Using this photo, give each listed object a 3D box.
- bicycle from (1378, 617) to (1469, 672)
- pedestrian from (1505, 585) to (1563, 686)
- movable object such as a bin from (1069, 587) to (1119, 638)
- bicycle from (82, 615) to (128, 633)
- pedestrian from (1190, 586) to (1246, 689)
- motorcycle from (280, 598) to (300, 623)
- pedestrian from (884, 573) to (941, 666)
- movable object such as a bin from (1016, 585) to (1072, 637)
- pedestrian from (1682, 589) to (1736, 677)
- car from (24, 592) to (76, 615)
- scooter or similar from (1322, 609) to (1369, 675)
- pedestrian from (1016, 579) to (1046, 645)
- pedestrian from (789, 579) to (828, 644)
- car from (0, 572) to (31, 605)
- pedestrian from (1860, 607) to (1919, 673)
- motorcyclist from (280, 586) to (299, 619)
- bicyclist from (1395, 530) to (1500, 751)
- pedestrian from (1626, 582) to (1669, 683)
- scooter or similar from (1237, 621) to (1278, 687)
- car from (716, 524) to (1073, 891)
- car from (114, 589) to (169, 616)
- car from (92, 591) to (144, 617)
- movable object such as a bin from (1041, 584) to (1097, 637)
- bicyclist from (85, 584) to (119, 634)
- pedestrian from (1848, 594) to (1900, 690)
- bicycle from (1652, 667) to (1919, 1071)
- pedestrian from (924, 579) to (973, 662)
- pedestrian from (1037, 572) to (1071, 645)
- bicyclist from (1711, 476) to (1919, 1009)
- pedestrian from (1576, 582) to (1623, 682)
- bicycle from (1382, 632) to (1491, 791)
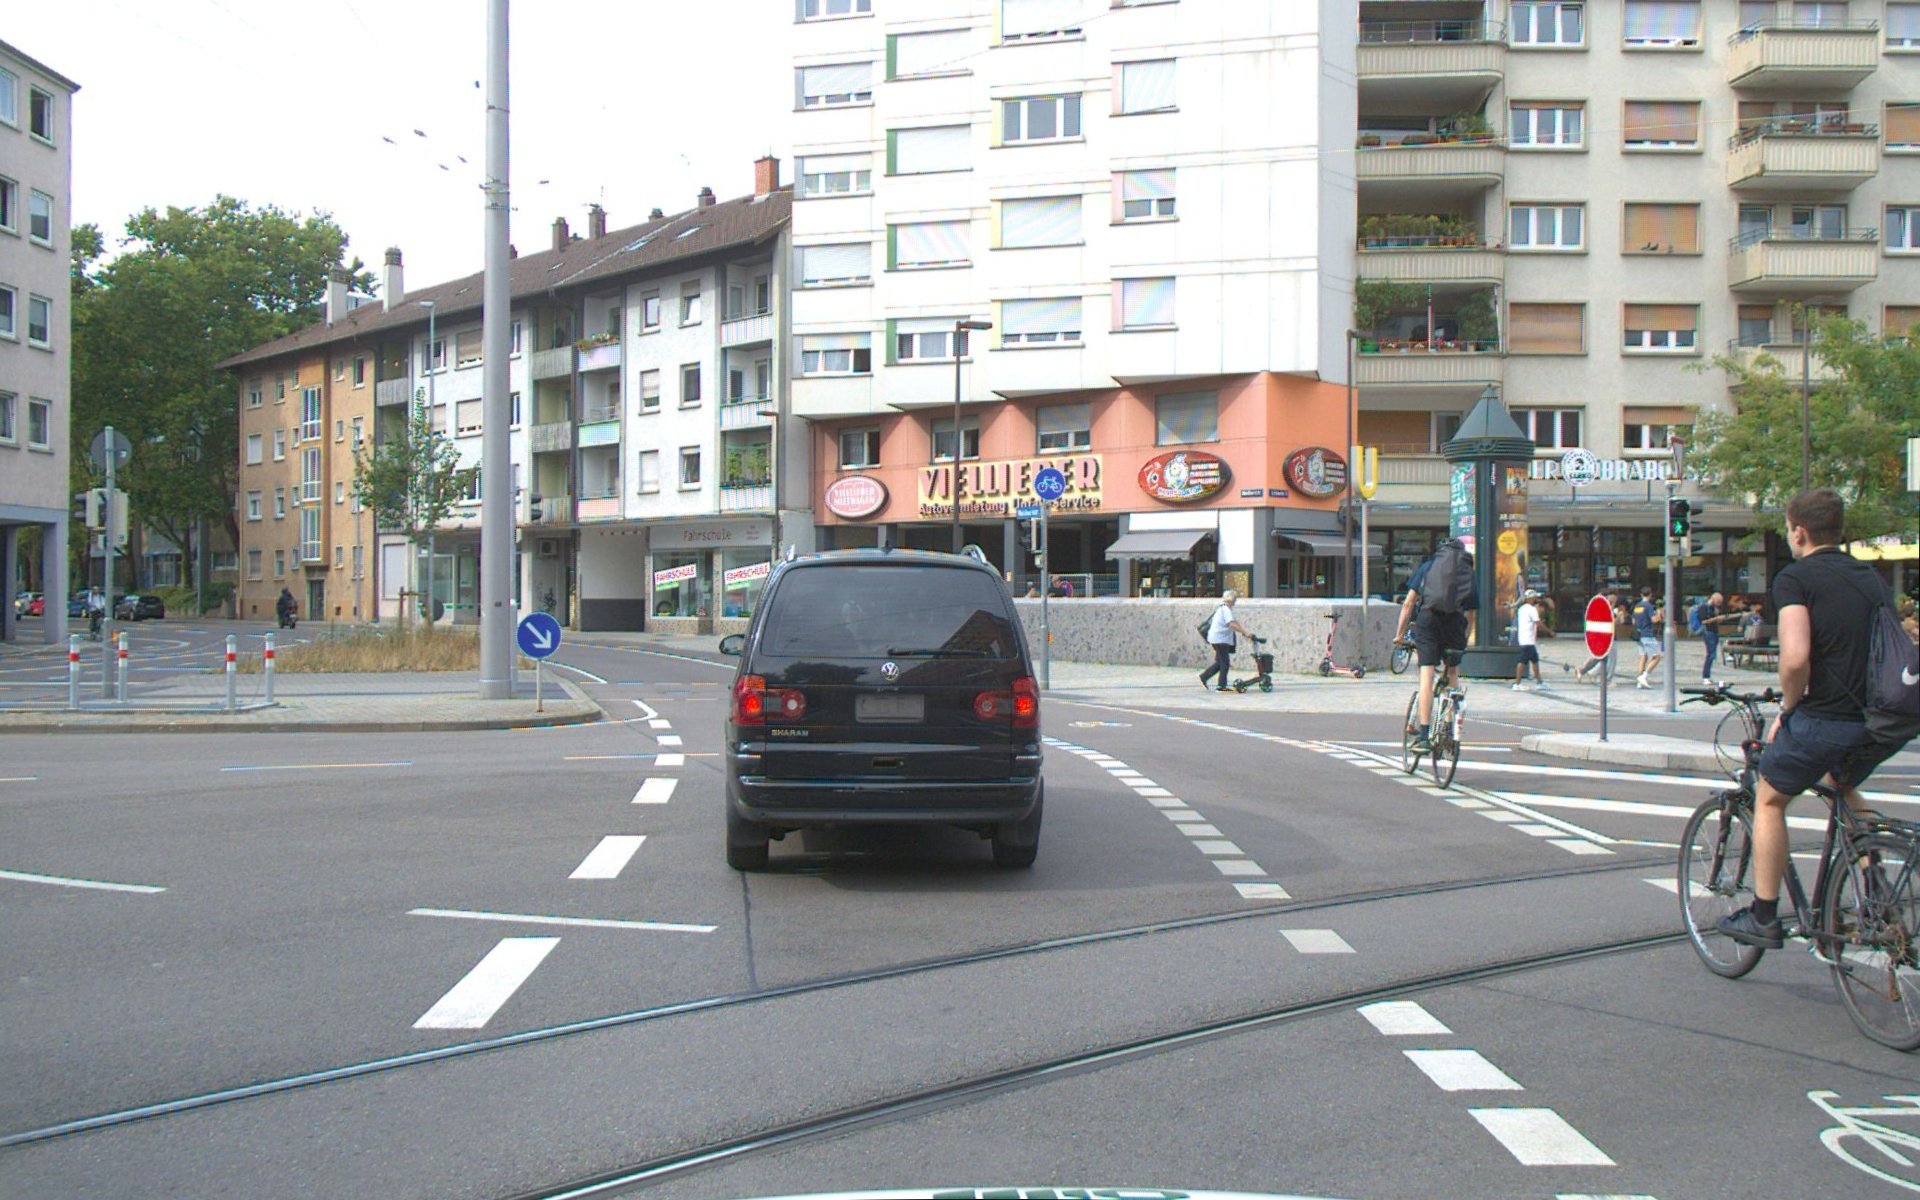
[{"bbox_3d":[9.231,0.864,32.877,2.427,1.031,0.536,0,0,-42],"label":"bicycle"},{"bbox_3d":[9.893,0.606,28.501,0.787,1.710,0.627,0,0,1],"label":"pedestrian"},{"bbox_3d":[4.064,0.369,50.240,1.148,1.542,0.999,0,0,44],"label":"movable object such as a bin"},{"bbox_3d":[-29.326,0.815,56.742,0.473,0.598,1.999,0,0,3],"label":"bicycle"},{"bbox_3d":[4.554,0.647,29.124,0.915,1.770,0.686,0,0,13],"label":"pedestrian"},{"bbox_3d":[-27.402,0.429,67.637,0.336,1.025,1.245,0,0,-43],"label":"motorcycle"},{"bbox_3d":[-1.052,0.426,36.616,0.995,2.005,0.718,1,3,40],"label":"pedestrian"},{"bbox_3d":[2.450,0.310,48.399,1.203,1.486,1.141,0,0,44],"label":"movable object such as a bin"},{"bbox_3d":[13.901,0.610,30.705,0.802,1.604,0.415,0,0,1],"label":"pedestrian"},{"bbox_3d":[-57.484,0.240,104.463,4.385,1.418,1.669,0,-1,44],"label":"car"},{"bbox_3d":[7.419,0.795,31.855,0.281,1.233,1.118,1,0,-23],"label":"scooter or similar"},{"bbox_3d":[1.869,0.302,43.608,0.470,1.702,0.580,-3,2,-44],"label":"pedestrian"},{"bbox_3d":[-4.488,0.328,49.021,0.653,1.884,0.956,-3,2,-42],"label":"pedestrian"},{"bbox_3d":[-49.801,-0.601,86.390,1.817,1.689,4.270,0,0,-36],"label":"car"},{"bbox_3d":[18.646,0.791,32.830,1.010,1.267,0.935,2,0,2],"label":"pedestrian"},{"bbox_3d":[-27.409,0.101,67.627,0.521,1.335,0.666,0,0,-43],"label":"motorcyclist"},{"bbox_3d":[3.978,0.318,13.545,0.682,1.739,0.908,0,0,8],"label":"bicyclist"},{"bbox_3d":[12.119,0.566,29.168,0.581,1.767,0.414,0,0,-1],"label":"pedestrian"},{"bbox_3d":[5.207,0.942,28.929,0.685,1.130,0.609,0,0,12],"label":"scooter or similar"},{"bbox_3d":[-0.570,0.521,10.079,1.778,1.797,3.731,0,0,-8],"label":"car"},{"bbox_3d":[-46.609,0.132,94.185,3.802,1.447,1.651,2,1,45],"label":"car"},{"bbox_3d":[-49.768,0.229,97.752,3.881,1.447,1.651,2,1,45],"label":"car"},{"bbox_3d":[3.250,0.310,49.345,1.177,1.542,1.189,0,0,44],"label":"movable object such as a bin"},{"bbox_3d":[-29.325,0.305,56.550,0.595,1.675,1.038,0,0,2],"label":"bicyclist"},{"bbox_3d":[15.933,0.726,28.846,0.662,1.670,0.440,0,0,-1],"label":"pedestrian"},{"bbox_3d":[3.141,0.873,6.107,0.397,1.141,2.018,1,1,3],"label":"bicycle"},{"bbox_3d":[-0.256,0.453,37.286,0.870,1.831,0.673,1,3,40],"label":"pedestrian"},{"bbox_3d":[2.521,0.217,44.286,0.669,1.936,0.580,-3,2,-44],"label":"pedestrian"},{"bbox_3d":[3.101,0.464,5.831,0.547,1.739,0.863,0,0,3],"label":"bicyclist"},{"bbox_3d":[11.445,0.564,29.609,0.685,1.767,0.414,0,0,-1],"label":"pedestrian"},{"bbox_3d":[3.884,0.869,13.589,0.382,1.141,1.920,0,1,2],"label":"bicycle"}]
